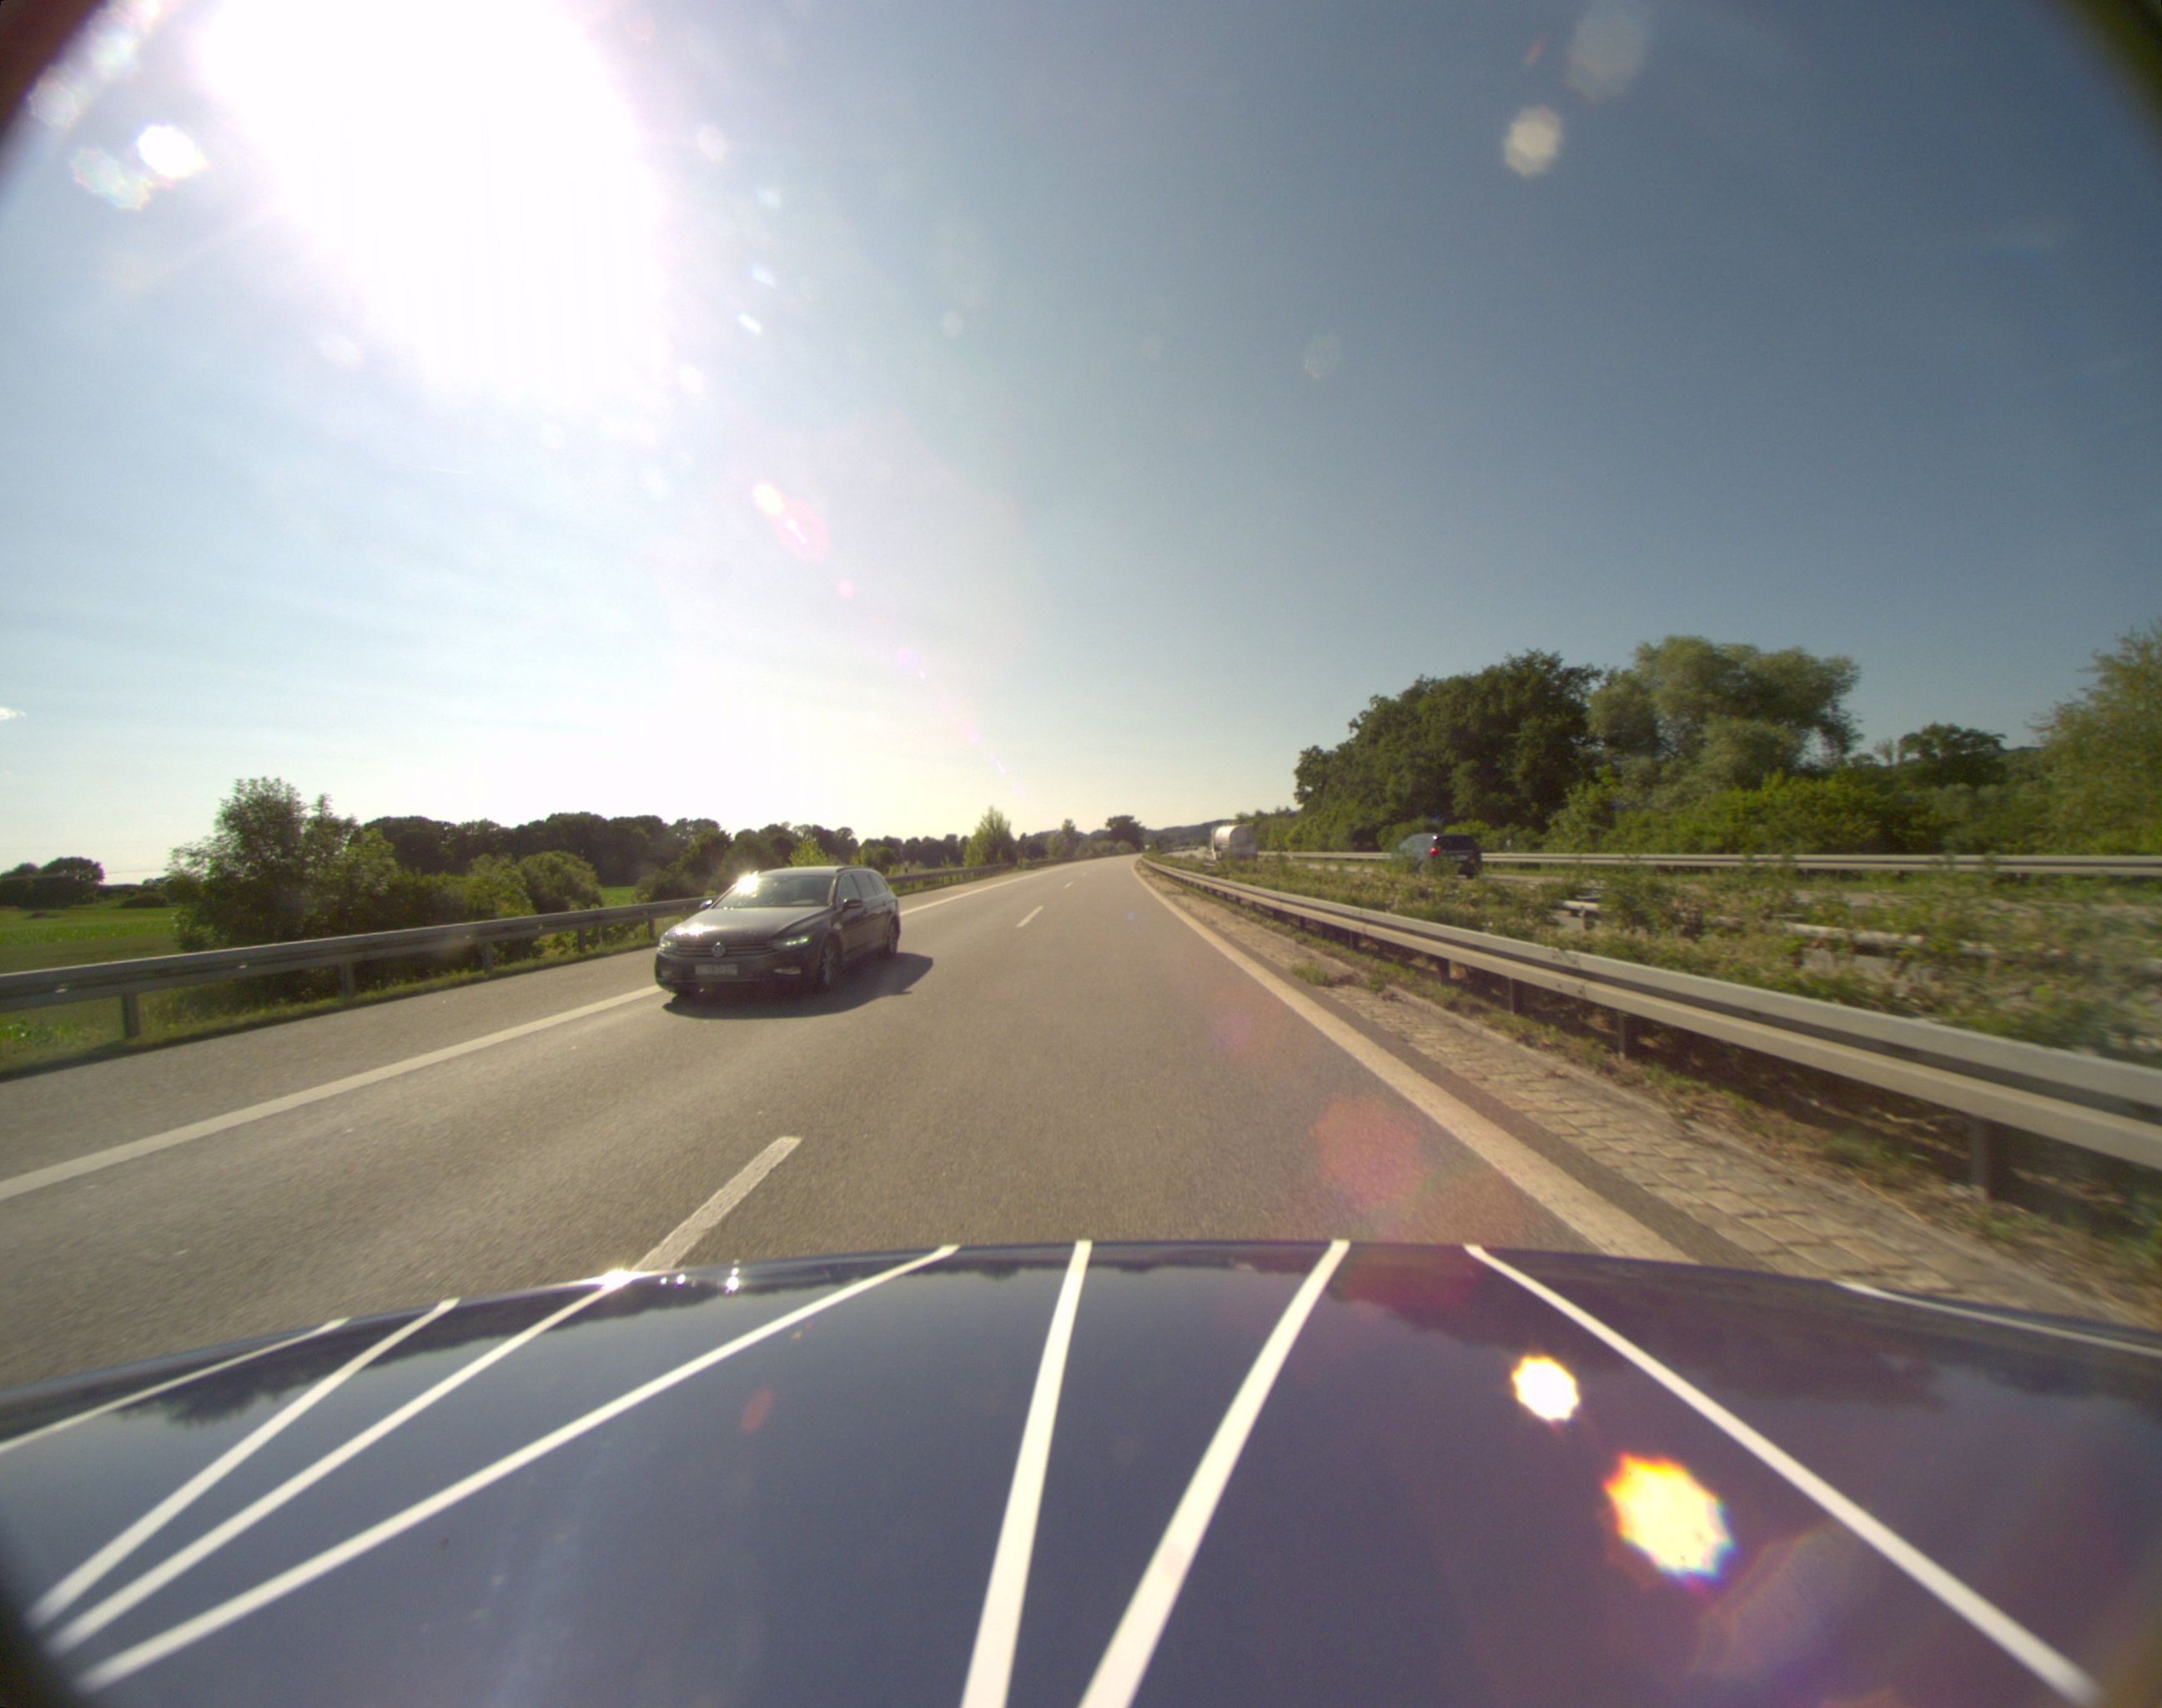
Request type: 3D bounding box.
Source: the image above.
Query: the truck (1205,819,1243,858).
[{"bbox_3d":[14.299,-1.545,76.362,2.747,3.705,5.971,-1,1,2],"label":"truck"}]

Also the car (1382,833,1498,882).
[{"bbox_3d":[12.381,0.085,26.579,1.998,1.545,4.419,-1,0,1],"label":"car"}]

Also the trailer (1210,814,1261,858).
[{"bbox_3d":[14.111,-1.587,70.278,2.747,3.705,10.913,-1,1,2],"label":"trailer"}]

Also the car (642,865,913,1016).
[{"bbox_3d":[-3.678,0.950,10.204,1.723,1.392,4.413,-2,1,1],"label":"car"}]

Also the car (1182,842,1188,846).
[{"bbox_3d":[35.704,-3.400,261.848,1.732,1.420,3.884,-1,1,11],"label":"car"}]
